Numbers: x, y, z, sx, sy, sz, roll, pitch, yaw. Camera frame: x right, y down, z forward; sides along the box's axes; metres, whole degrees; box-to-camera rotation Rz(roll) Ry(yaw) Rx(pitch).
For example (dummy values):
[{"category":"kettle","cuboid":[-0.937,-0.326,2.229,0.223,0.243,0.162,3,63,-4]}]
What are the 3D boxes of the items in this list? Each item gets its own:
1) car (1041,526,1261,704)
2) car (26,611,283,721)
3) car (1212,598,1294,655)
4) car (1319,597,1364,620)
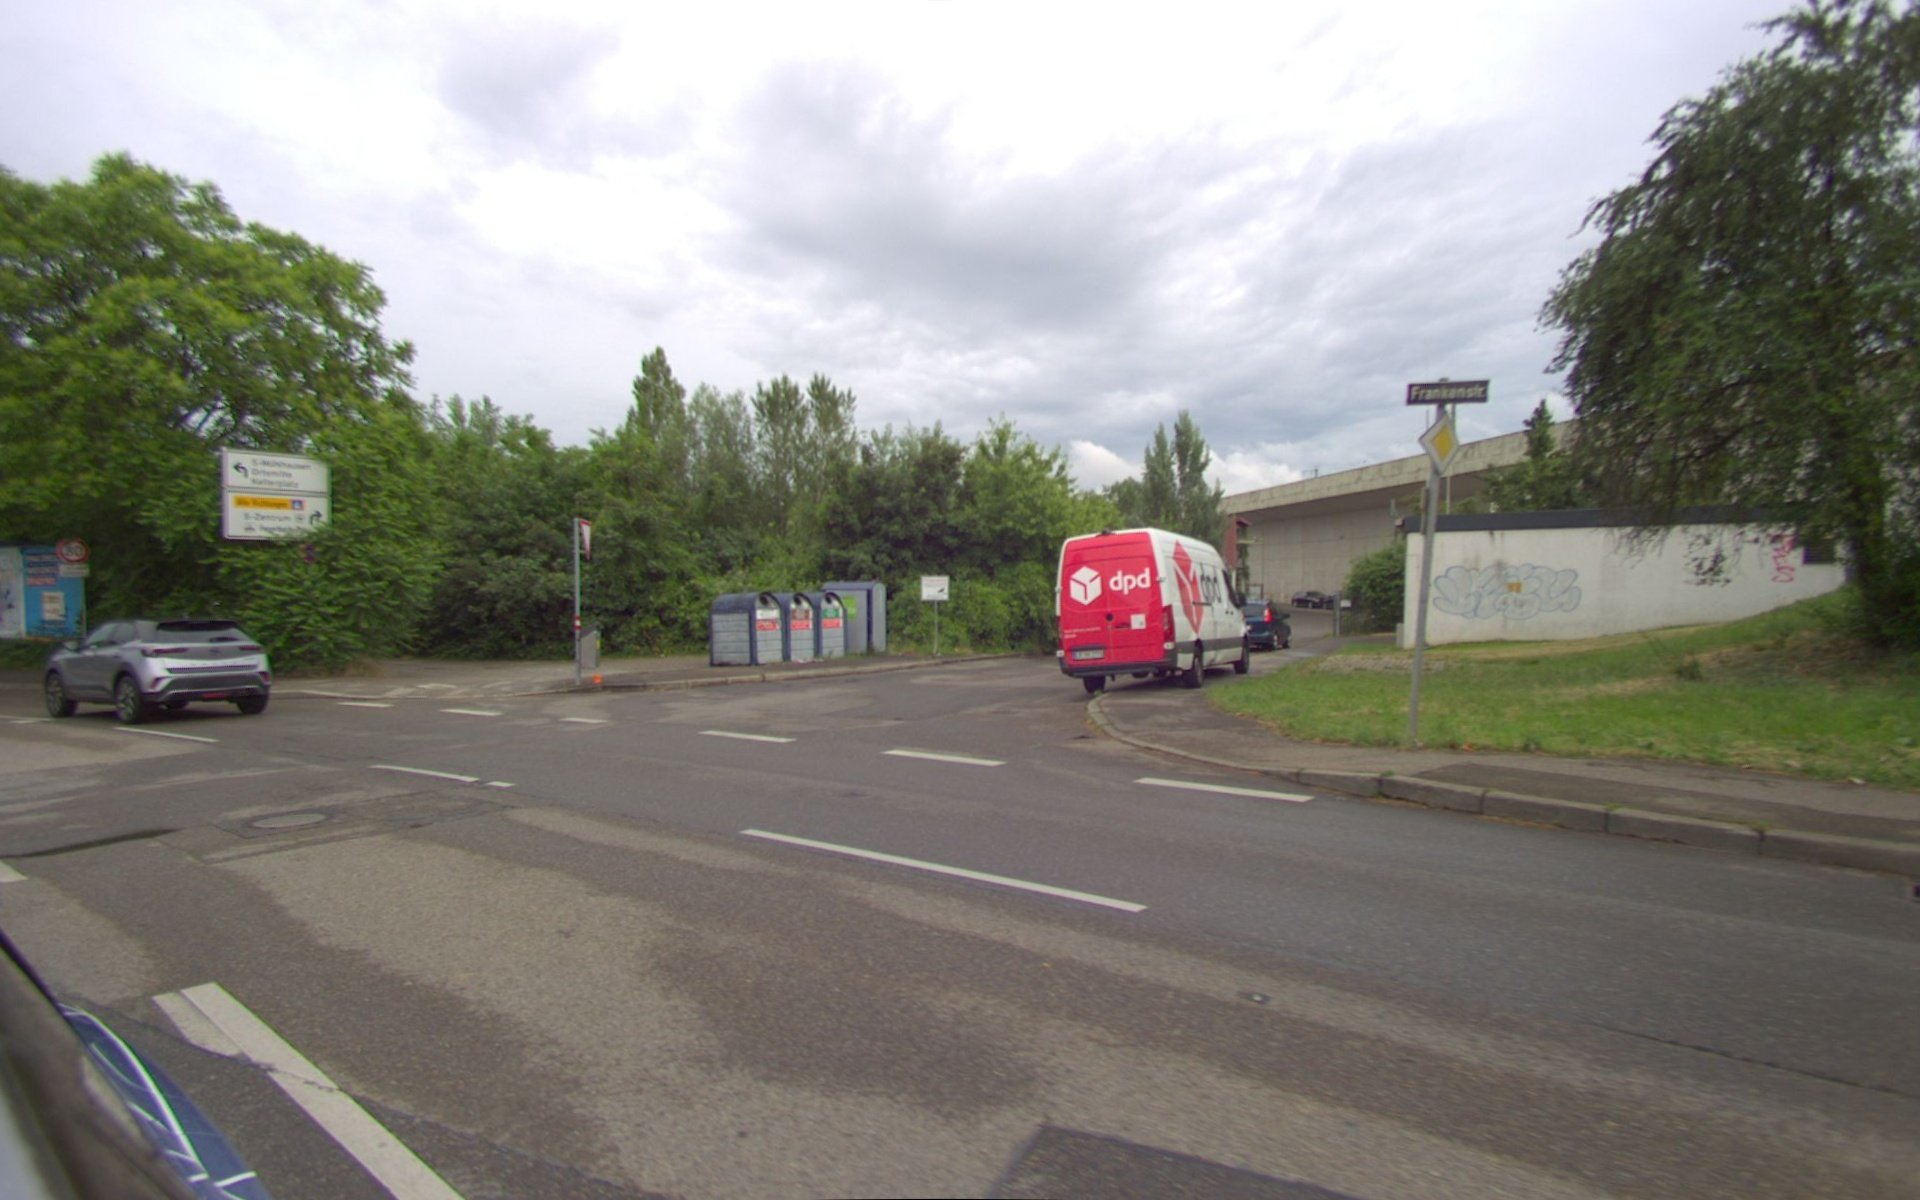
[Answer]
[{"category":"car","cuboid":[3.802,0.207,18.688,2.251,2.675,6.763,-1,0,26]},{"category":"car","cuboid":[-12.473,0.960,15.634,3.986,1.473,1.881,-2,-1,32]},{"category":"car","cuboid":[9.505,0.806,32.650,1.988,1.642,4.219,-1,0,24]},{"category":"car","cuboid":[30.900,0.684,82.059,1.971,1.808,4.001,-1,0,-2]}]
